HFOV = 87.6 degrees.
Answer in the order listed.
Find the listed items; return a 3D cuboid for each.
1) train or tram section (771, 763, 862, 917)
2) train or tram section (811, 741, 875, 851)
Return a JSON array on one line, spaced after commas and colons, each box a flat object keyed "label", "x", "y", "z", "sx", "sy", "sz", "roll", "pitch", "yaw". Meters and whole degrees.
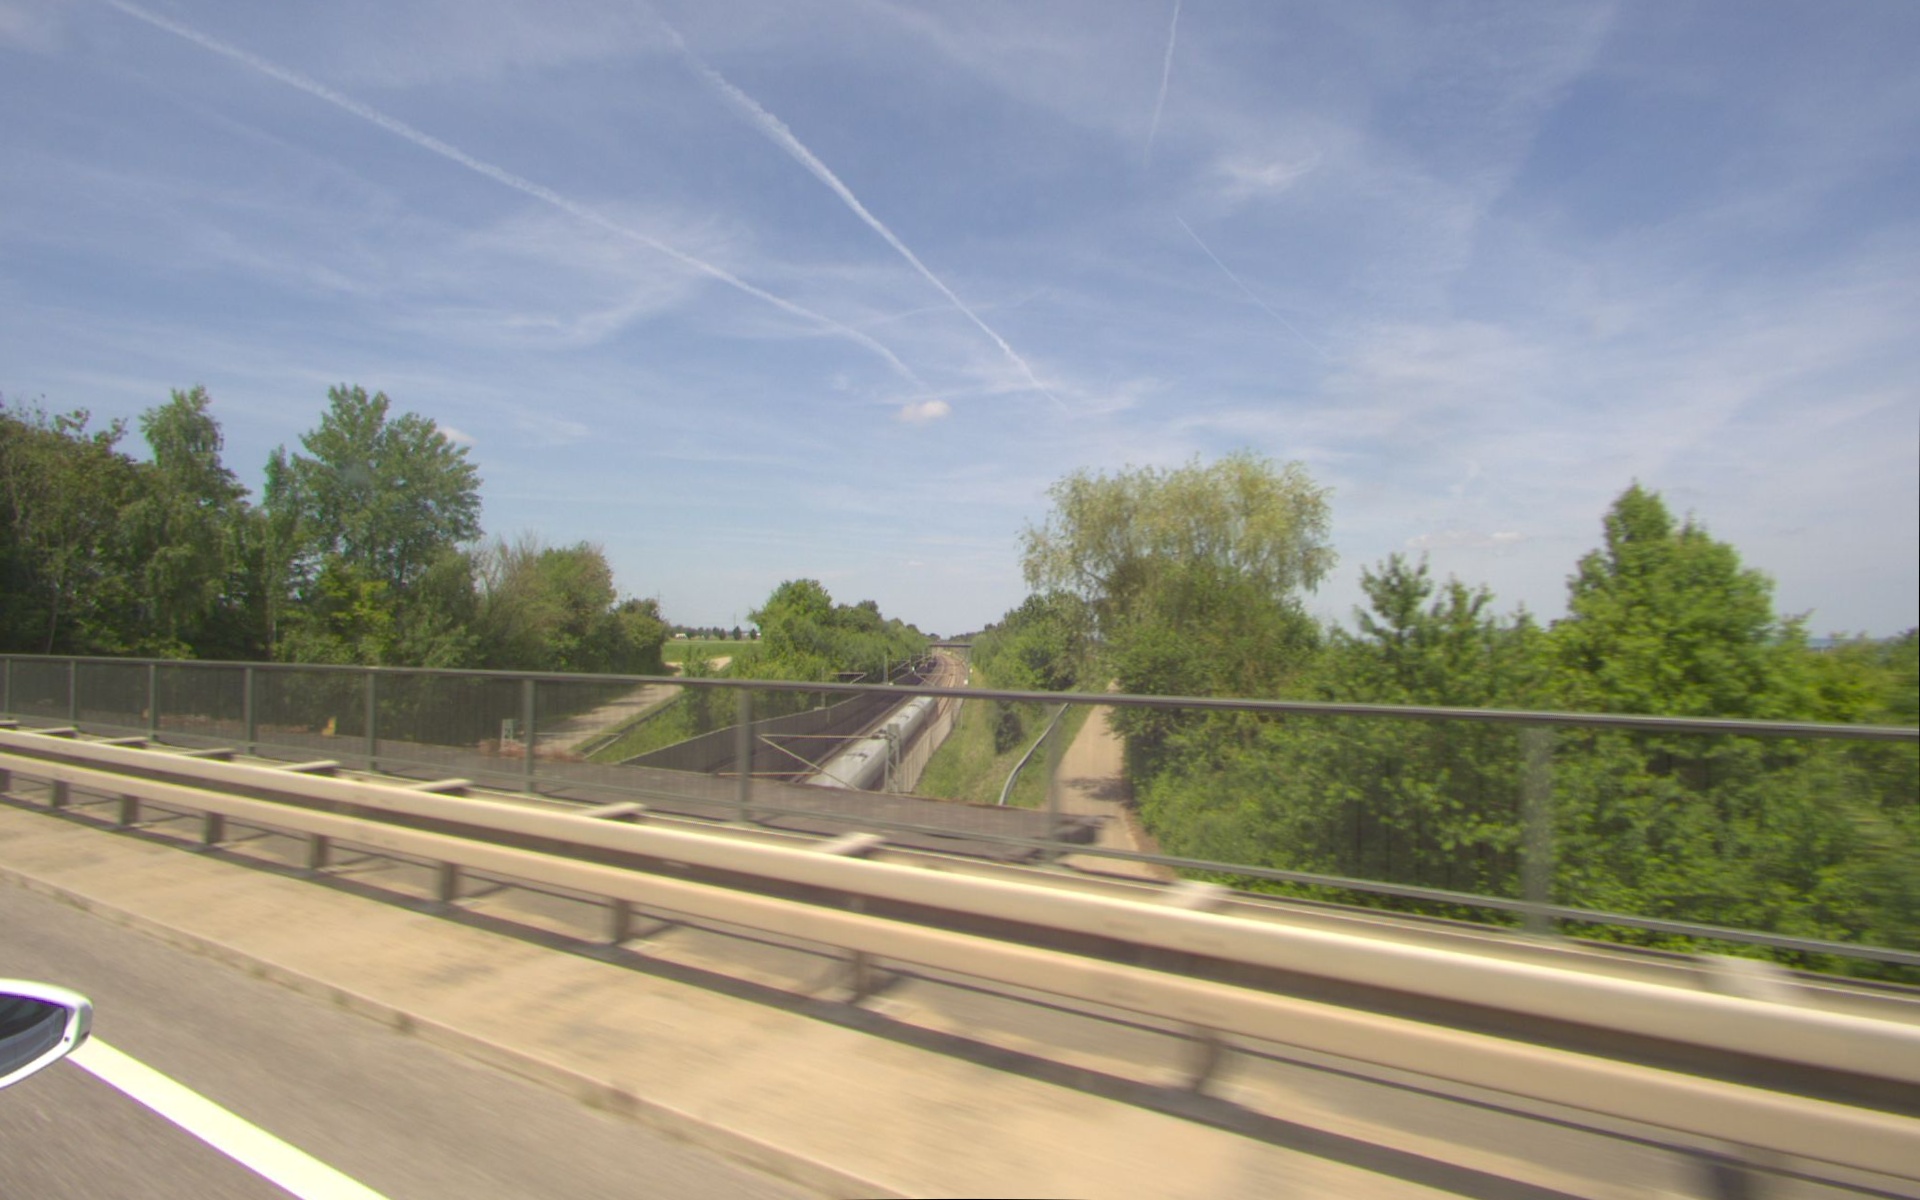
[{"label": "train or tram section", "x": -5.963, "y": 9.991, "z": 43.670, "sx": 2.504, "sy": 4.283, "sz": 12.459, "roll": 1, "pitch": -3, "yaw": -2}, {"label": "train or tram section", "x": -6.350, "y": 10.636, "z": 56.070, "sx": 2.504, "sy": 4.283, "sz": 12.459, "roll": 1, "pitch": -3, "yaw": -2}]
